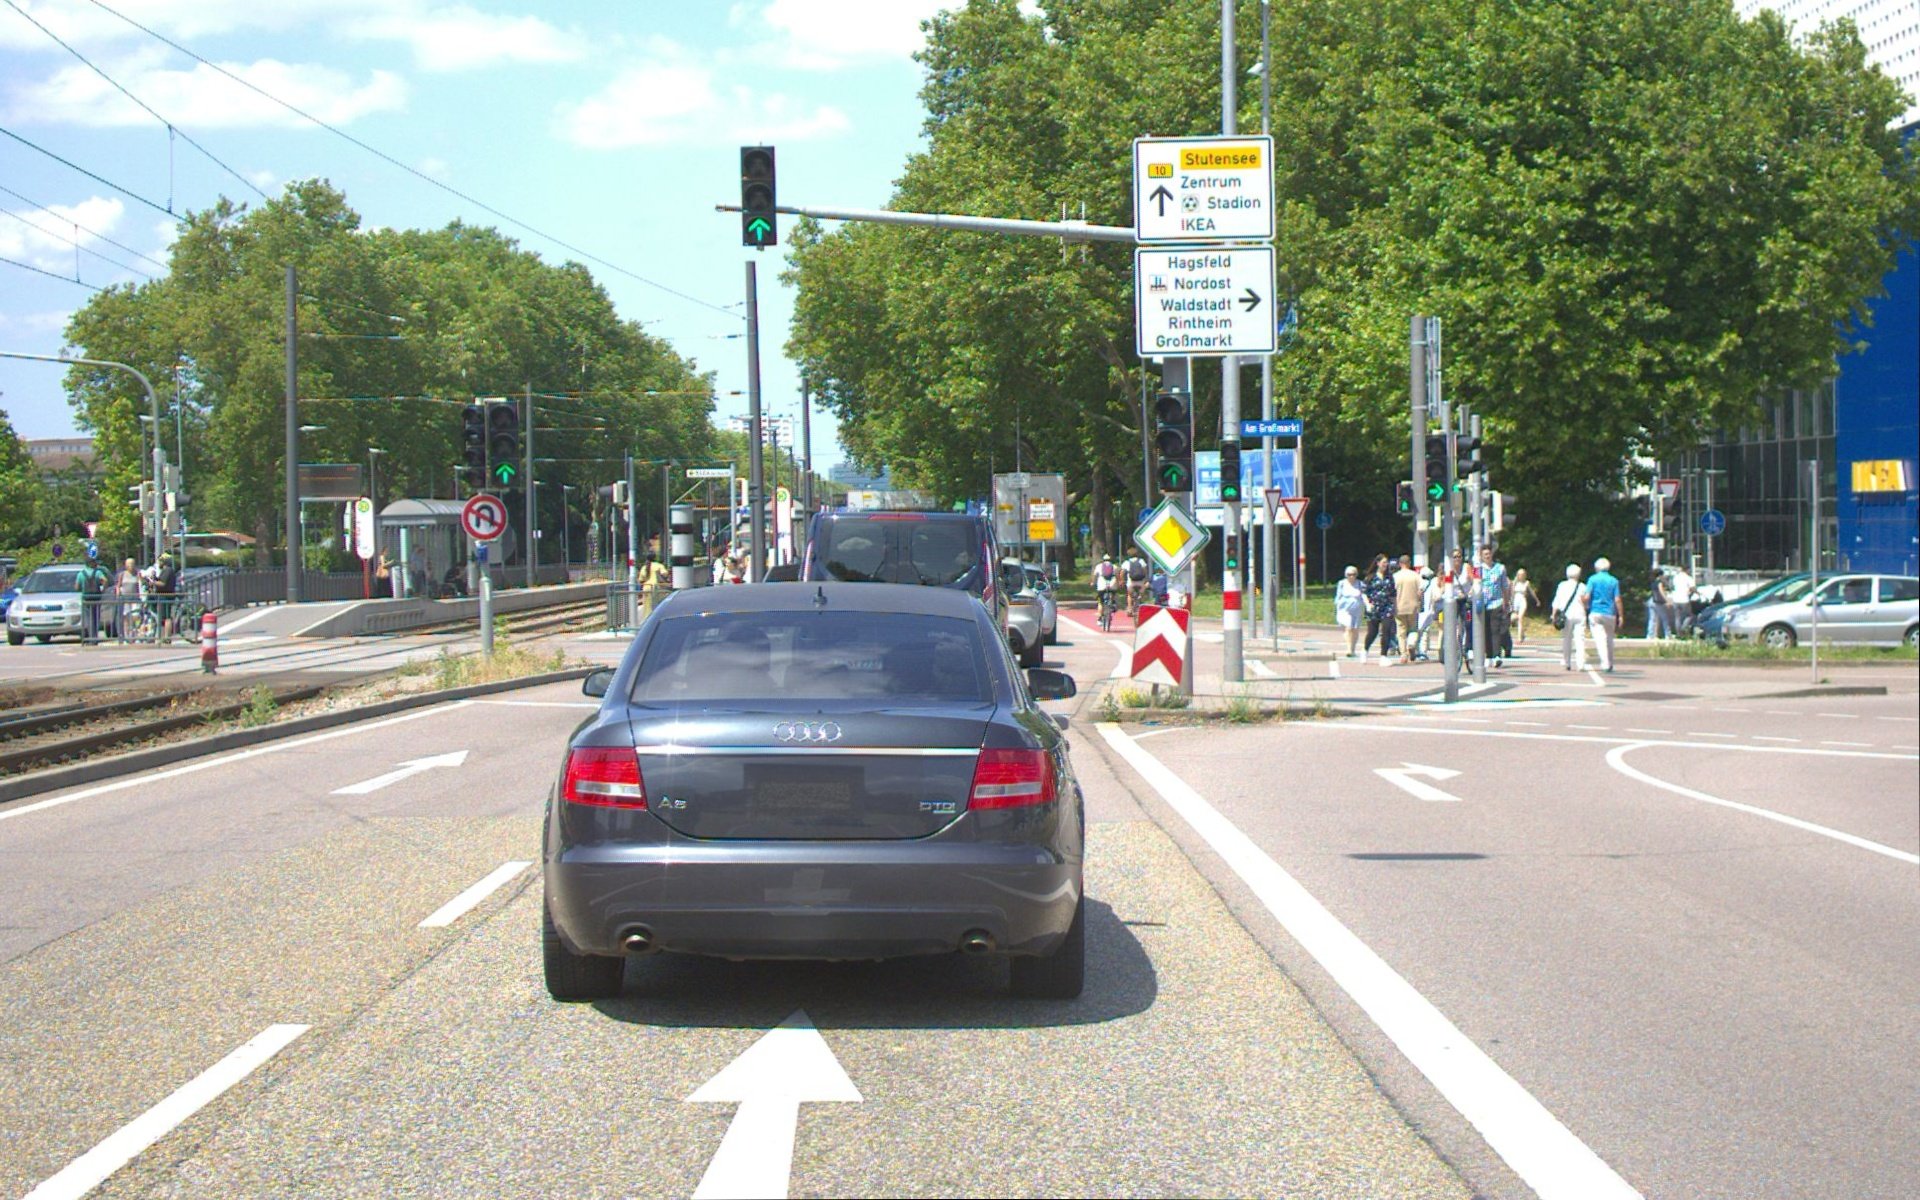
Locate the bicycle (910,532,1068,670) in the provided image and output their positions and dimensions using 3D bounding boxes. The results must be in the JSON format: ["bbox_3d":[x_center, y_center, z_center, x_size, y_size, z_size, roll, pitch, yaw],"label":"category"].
[{"bbox_3d":[0.485,-0.014,52.449,1.994,2.007,3.999,1,1,6],"label":"bicycle"}]

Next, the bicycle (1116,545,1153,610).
[{"bbox_3d":[4.126,-0.536,81.434,0.687,1.514,2.751,1,1,0],"label":"bicycle"}]

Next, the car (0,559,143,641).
[{"bbox_3d":[-19.116,-0.025,74.006,1.822,1.664,4.461,1,1,2],"label":"car"}]

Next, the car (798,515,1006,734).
[{"bbox_3d":[-0.547,0.202,32.548,1.836,1.943,4.000,0,0,-1],"label":"car"}]

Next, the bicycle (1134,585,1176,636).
[{"bbox_3d":[4.026,0.207,71.104,0.687,1.002,2.751,1,1,0],"label":"bicycle"}]

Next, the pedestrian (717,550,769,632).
[{"bbox_3d":[-4.104,-0.174,65.015,0.742,1.550,0.607,1,1,37],"label":"pedestrian"}]

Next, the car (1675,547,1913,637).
[{"bbox_3d":[14.895,-0.160,61.562,3.789,1.481,2.000,2,1,3],"label":"car"}]

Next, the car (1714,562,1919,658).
[{"bbox_3d":[15.196,0.175,58.074,4.498,1.481,2.000,2,1,3],"label":"car"}]

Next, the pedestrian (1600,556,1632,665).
[{"bbox_3d":[9.834,0.158,51.533,0.398,1.629,0.371,1,1,2],"label":"pedestrian"}]

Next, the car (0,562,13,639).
[{"bbox_3d":[-21.891,0.023,73.659,1.822,1.664,4.461,1,1,2],"label":"car"}]

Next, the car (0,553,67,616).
[{"bbox_3d":[-28.619,-0.500,104.740,1.817,1.876,4.000,1,1,-1],"label":"car"}]

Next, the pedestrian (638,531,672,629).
[{"bbox_3d":[-6.288,-0.407,70.871,0.685,2.007,0.573,0,0,-5],"label":"pedestrian"}]

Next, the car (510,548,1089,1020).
[{"bbox_3d":[-0.515,0.541,12.673,1.792,1.450,4.000,0,1,-1],"label":"car"}]

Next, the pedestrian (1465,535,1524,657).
[{"bbox_3d":[8.177,-0.062,52.578,0.685,1.840,0.706,1,1,25],"label":"pedestrian"}]

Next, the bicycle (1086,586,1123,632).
[{"bbox_3d":[3.224,0.190,76.791,0.687,0.990,2.751,1,1,0],"label":"bicycle"}]

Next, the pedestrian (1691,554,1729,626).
[{"bbox_3d":[16.417,-0.223,75.244,0.705,1.539,0.677,1,1,19],"label":"pedestrian"}]

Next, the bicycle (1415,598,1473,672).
[{"bbox_3d":[6.969,0.488,49.427,0.660,1.018,1.860,1,1,13],"label":"bicycle"}]

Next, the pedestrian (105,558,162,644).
[{"bbox_3d":[-16.759,0.018,69.705,0.824,1.714,0.774,1,0,22],"label":"pedestrian"}]

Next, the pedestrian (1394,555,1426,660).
[{"bbox_3d":[7.064,0.114,54.002,0.445,1.629,0.430,1,1,2],"label":"pedestrian"}]

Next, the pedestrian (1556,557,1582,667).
[{"bbox_3d":[9.132,0.175,51.547,0.320,1.629,0.377,1,1,2],"label":"pedestrian"}]

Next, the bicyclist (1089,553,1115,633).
[{"bbox_3d":[3.198,-0.155,77.317,0.528,1.783,1.088,0,0,0],"label":"bicyclist"}]

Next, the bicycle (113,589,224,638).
[{"bbox_3d":[-15.225,0.255,66.172,2.055,0.922,0.753,0,1,-10],"label":"bicycle"}]

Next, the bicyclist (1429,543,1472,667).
[{"bbox_3d":[7.063,0.069,49.507,0.529,1.758,0.827,0,0,13],"label":"bicyclist"}]

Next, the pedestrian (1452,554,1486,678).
[{"bbox_3d":[6.724,0.210,45.416,0.381,1.629,0.377,1,1,2],"label":"pedestrian"}]

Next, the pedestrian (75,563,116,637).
[{"bbox_3d":[-16.892,-0.008,67.153,0.685,1.438,0.573,0,0,-4],"label":"pedestrian"}]

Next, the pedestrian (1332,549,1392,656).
[{"bbox_3d":[6.188,0.030,52.855,0.714,1.629,0.706,1,1,25],"label":"pedestrian"}]

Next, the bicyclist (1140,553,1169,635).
[{"bbox_3d":[4.033,-0.131,71.215,0.528,1.670,1.088,0,0,0],"label":"bicyclist"}]

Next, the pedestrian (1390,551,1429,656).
[{"bbox_3d":[7.061,0.048,53.980,0.554,1.629,0.433,1,1,2],"label":"pedestrian"}]

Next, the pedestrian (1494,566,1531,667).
[{"bbox_3d":[9.203,0.265,57.269,0.521,1.664,0.494,1,1,3],"label":"pedestrian"}]

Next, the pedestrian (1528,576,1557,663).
[{"bbox_3d":[8.757,0.294,51.654,0.372,1.299,0.365,1,1,2],"label":"pedestrian"}]

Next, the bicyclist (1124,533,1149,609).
[{"bbox_3d":[4.159,-0.679,80.982,0.528,1.783,1.088,0,0,-1],"label":"bicyclist"}]

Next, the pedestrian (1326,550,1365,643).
[{"bbox_3d":[6.343,-0.059,56.517,0.494,1.514,0.706,1,1,17],"label":"pedestrian"}]

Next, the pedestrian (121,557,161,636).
[{"bbox_3d":[-16.254,-0.065,68.266,0.685,1.559,0.573,0,0,-4],"label":"pedestrian"}]
